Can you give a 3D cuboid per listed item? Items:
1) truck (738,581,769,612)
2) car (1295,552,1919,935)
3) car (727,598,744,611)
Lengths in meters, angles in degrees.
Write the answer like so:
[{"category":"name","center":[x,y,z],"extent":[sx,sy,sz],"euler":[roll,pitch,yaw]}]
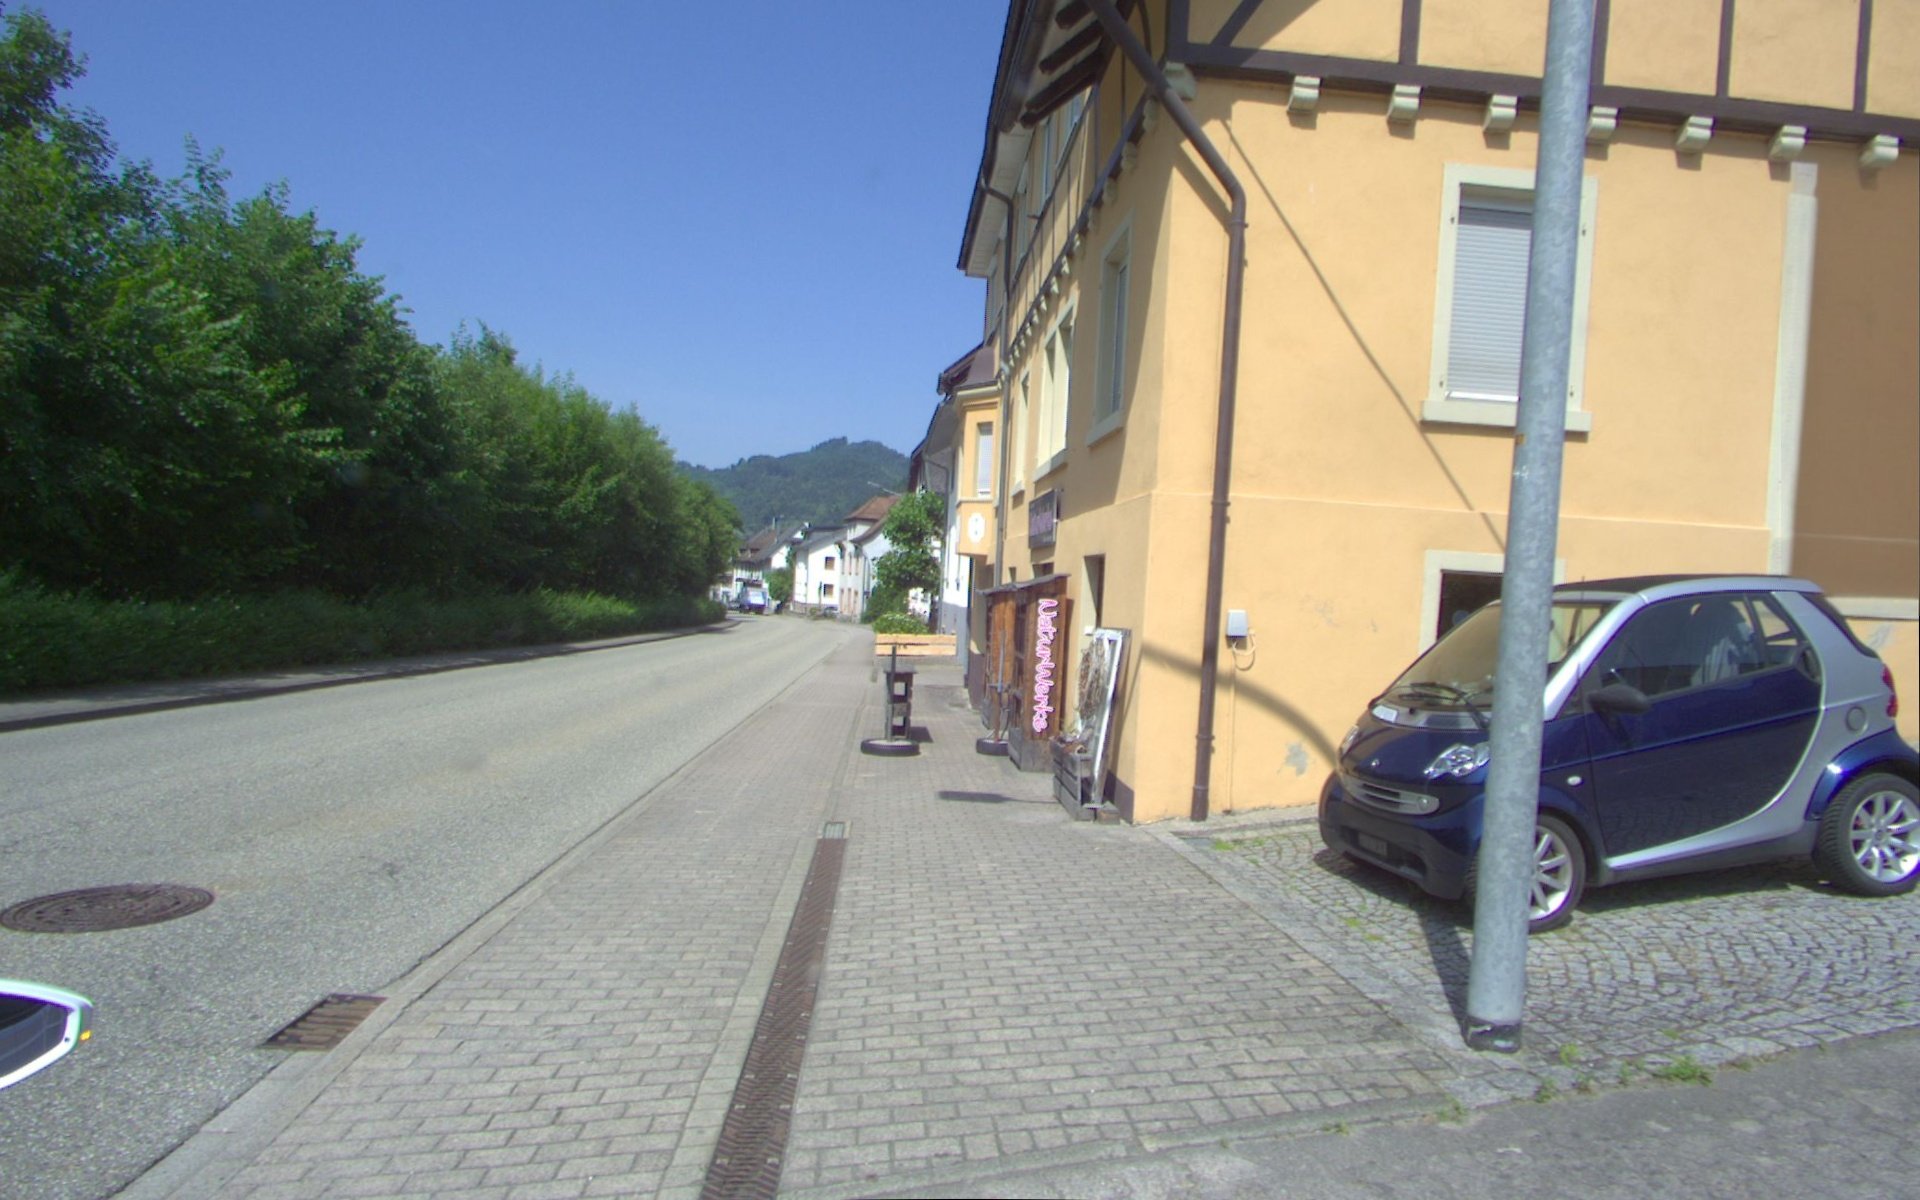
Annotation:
[{"category":"truck","center":[-26.797,-0.380,129.815],"extent":[3.313,3.831,8.429],"euler":[-1,-1,-16]},{"category":"car","center":[3.332,0.621,5.188],"extent":[2.611,1.556,1.425],"euler":[-3,-1,-8]},{"category":"car","center":[-33.683,0.696,149.924],"extent":[1.966,1.906,3.991],"euler":[-1,-1,-20]}]
